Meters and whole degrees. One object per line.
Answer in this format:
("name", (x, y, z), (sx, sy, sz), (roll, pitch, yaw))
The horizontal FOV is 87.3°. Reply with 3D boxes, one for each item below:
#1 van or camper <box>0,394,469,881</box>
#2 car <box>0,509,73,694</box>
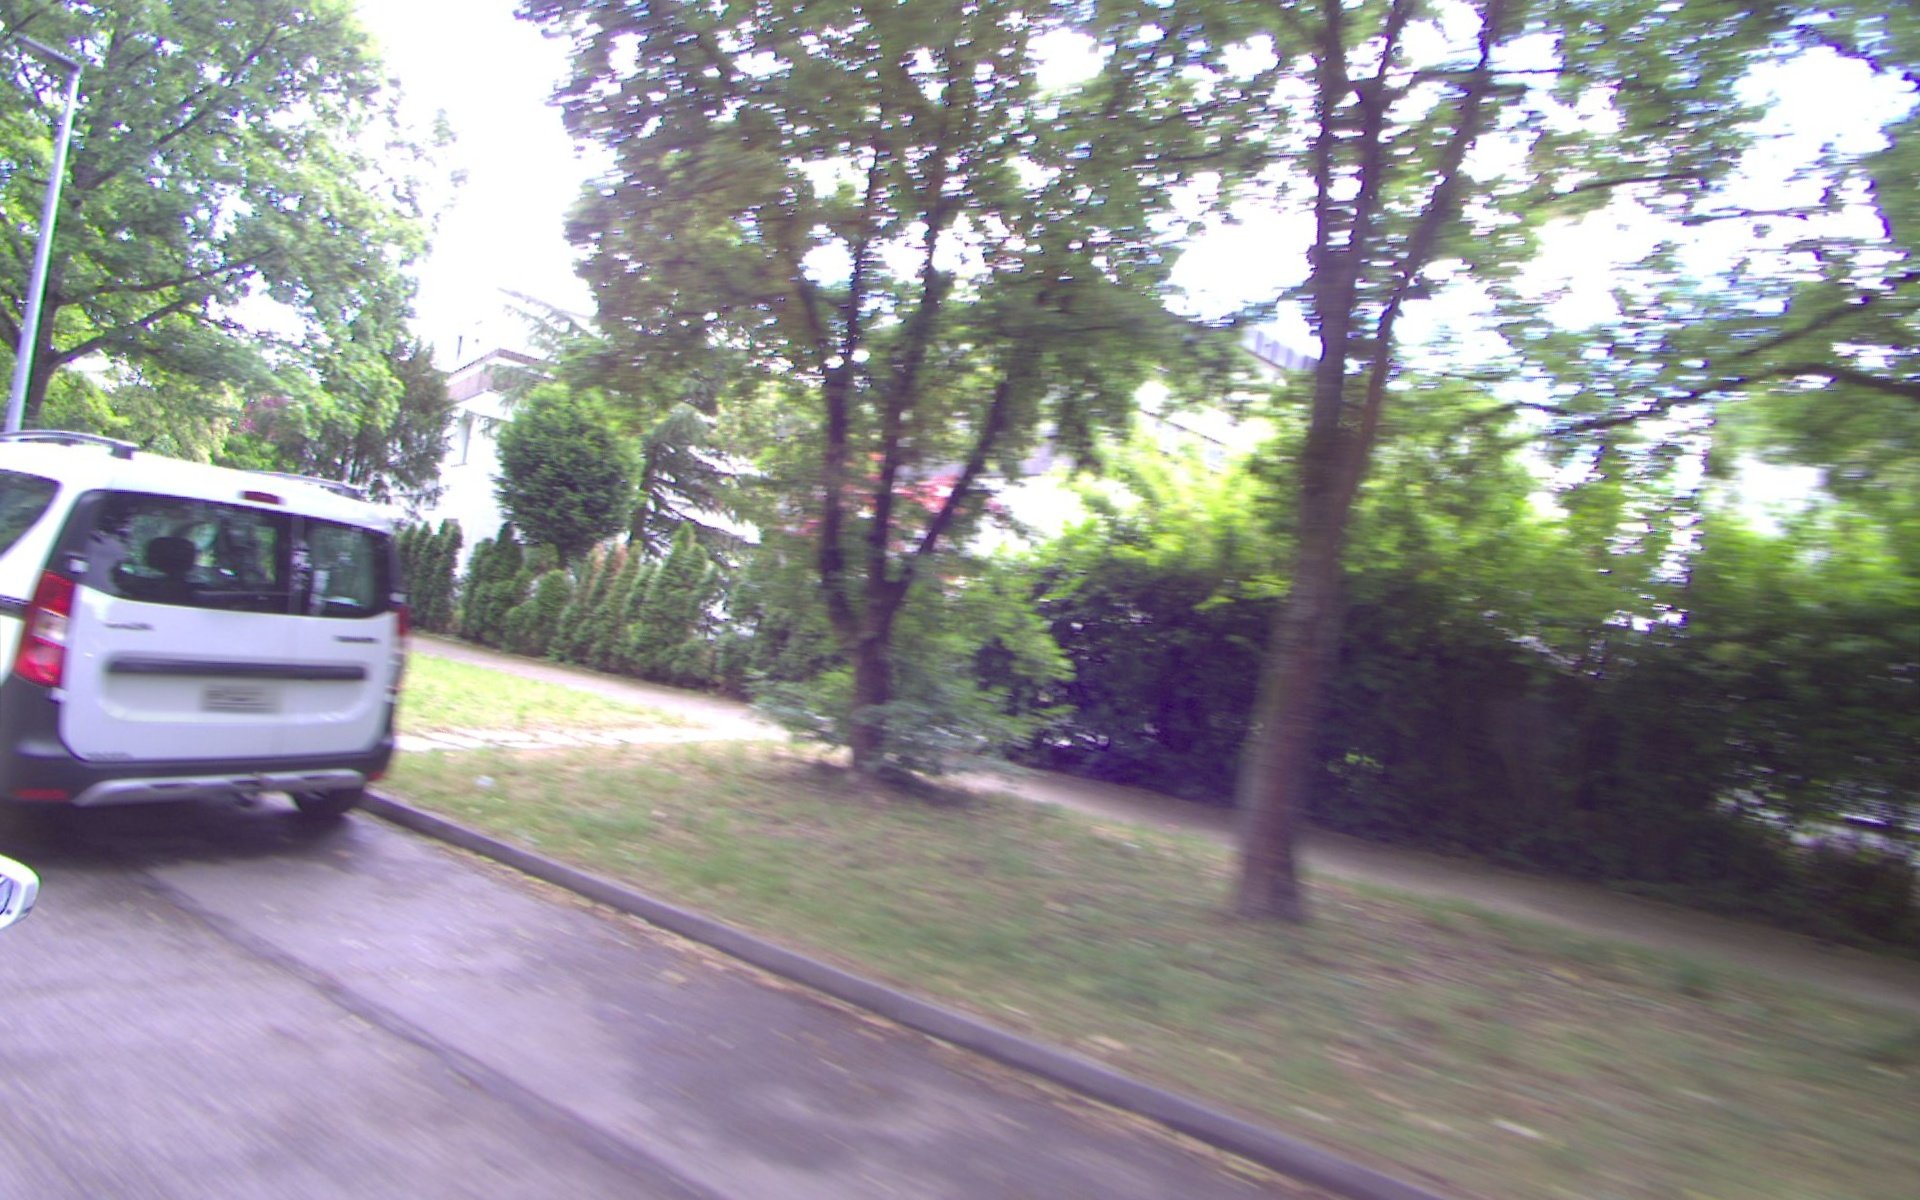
("van or camper", (-4.989, 0.067, 5.651), (4.248, 1.858, 1.806), (5, -3, 31))
("car", (-9.716, -0.271, 8.621), (4.170, 1.453, 1.818), (7, -3, 30))
